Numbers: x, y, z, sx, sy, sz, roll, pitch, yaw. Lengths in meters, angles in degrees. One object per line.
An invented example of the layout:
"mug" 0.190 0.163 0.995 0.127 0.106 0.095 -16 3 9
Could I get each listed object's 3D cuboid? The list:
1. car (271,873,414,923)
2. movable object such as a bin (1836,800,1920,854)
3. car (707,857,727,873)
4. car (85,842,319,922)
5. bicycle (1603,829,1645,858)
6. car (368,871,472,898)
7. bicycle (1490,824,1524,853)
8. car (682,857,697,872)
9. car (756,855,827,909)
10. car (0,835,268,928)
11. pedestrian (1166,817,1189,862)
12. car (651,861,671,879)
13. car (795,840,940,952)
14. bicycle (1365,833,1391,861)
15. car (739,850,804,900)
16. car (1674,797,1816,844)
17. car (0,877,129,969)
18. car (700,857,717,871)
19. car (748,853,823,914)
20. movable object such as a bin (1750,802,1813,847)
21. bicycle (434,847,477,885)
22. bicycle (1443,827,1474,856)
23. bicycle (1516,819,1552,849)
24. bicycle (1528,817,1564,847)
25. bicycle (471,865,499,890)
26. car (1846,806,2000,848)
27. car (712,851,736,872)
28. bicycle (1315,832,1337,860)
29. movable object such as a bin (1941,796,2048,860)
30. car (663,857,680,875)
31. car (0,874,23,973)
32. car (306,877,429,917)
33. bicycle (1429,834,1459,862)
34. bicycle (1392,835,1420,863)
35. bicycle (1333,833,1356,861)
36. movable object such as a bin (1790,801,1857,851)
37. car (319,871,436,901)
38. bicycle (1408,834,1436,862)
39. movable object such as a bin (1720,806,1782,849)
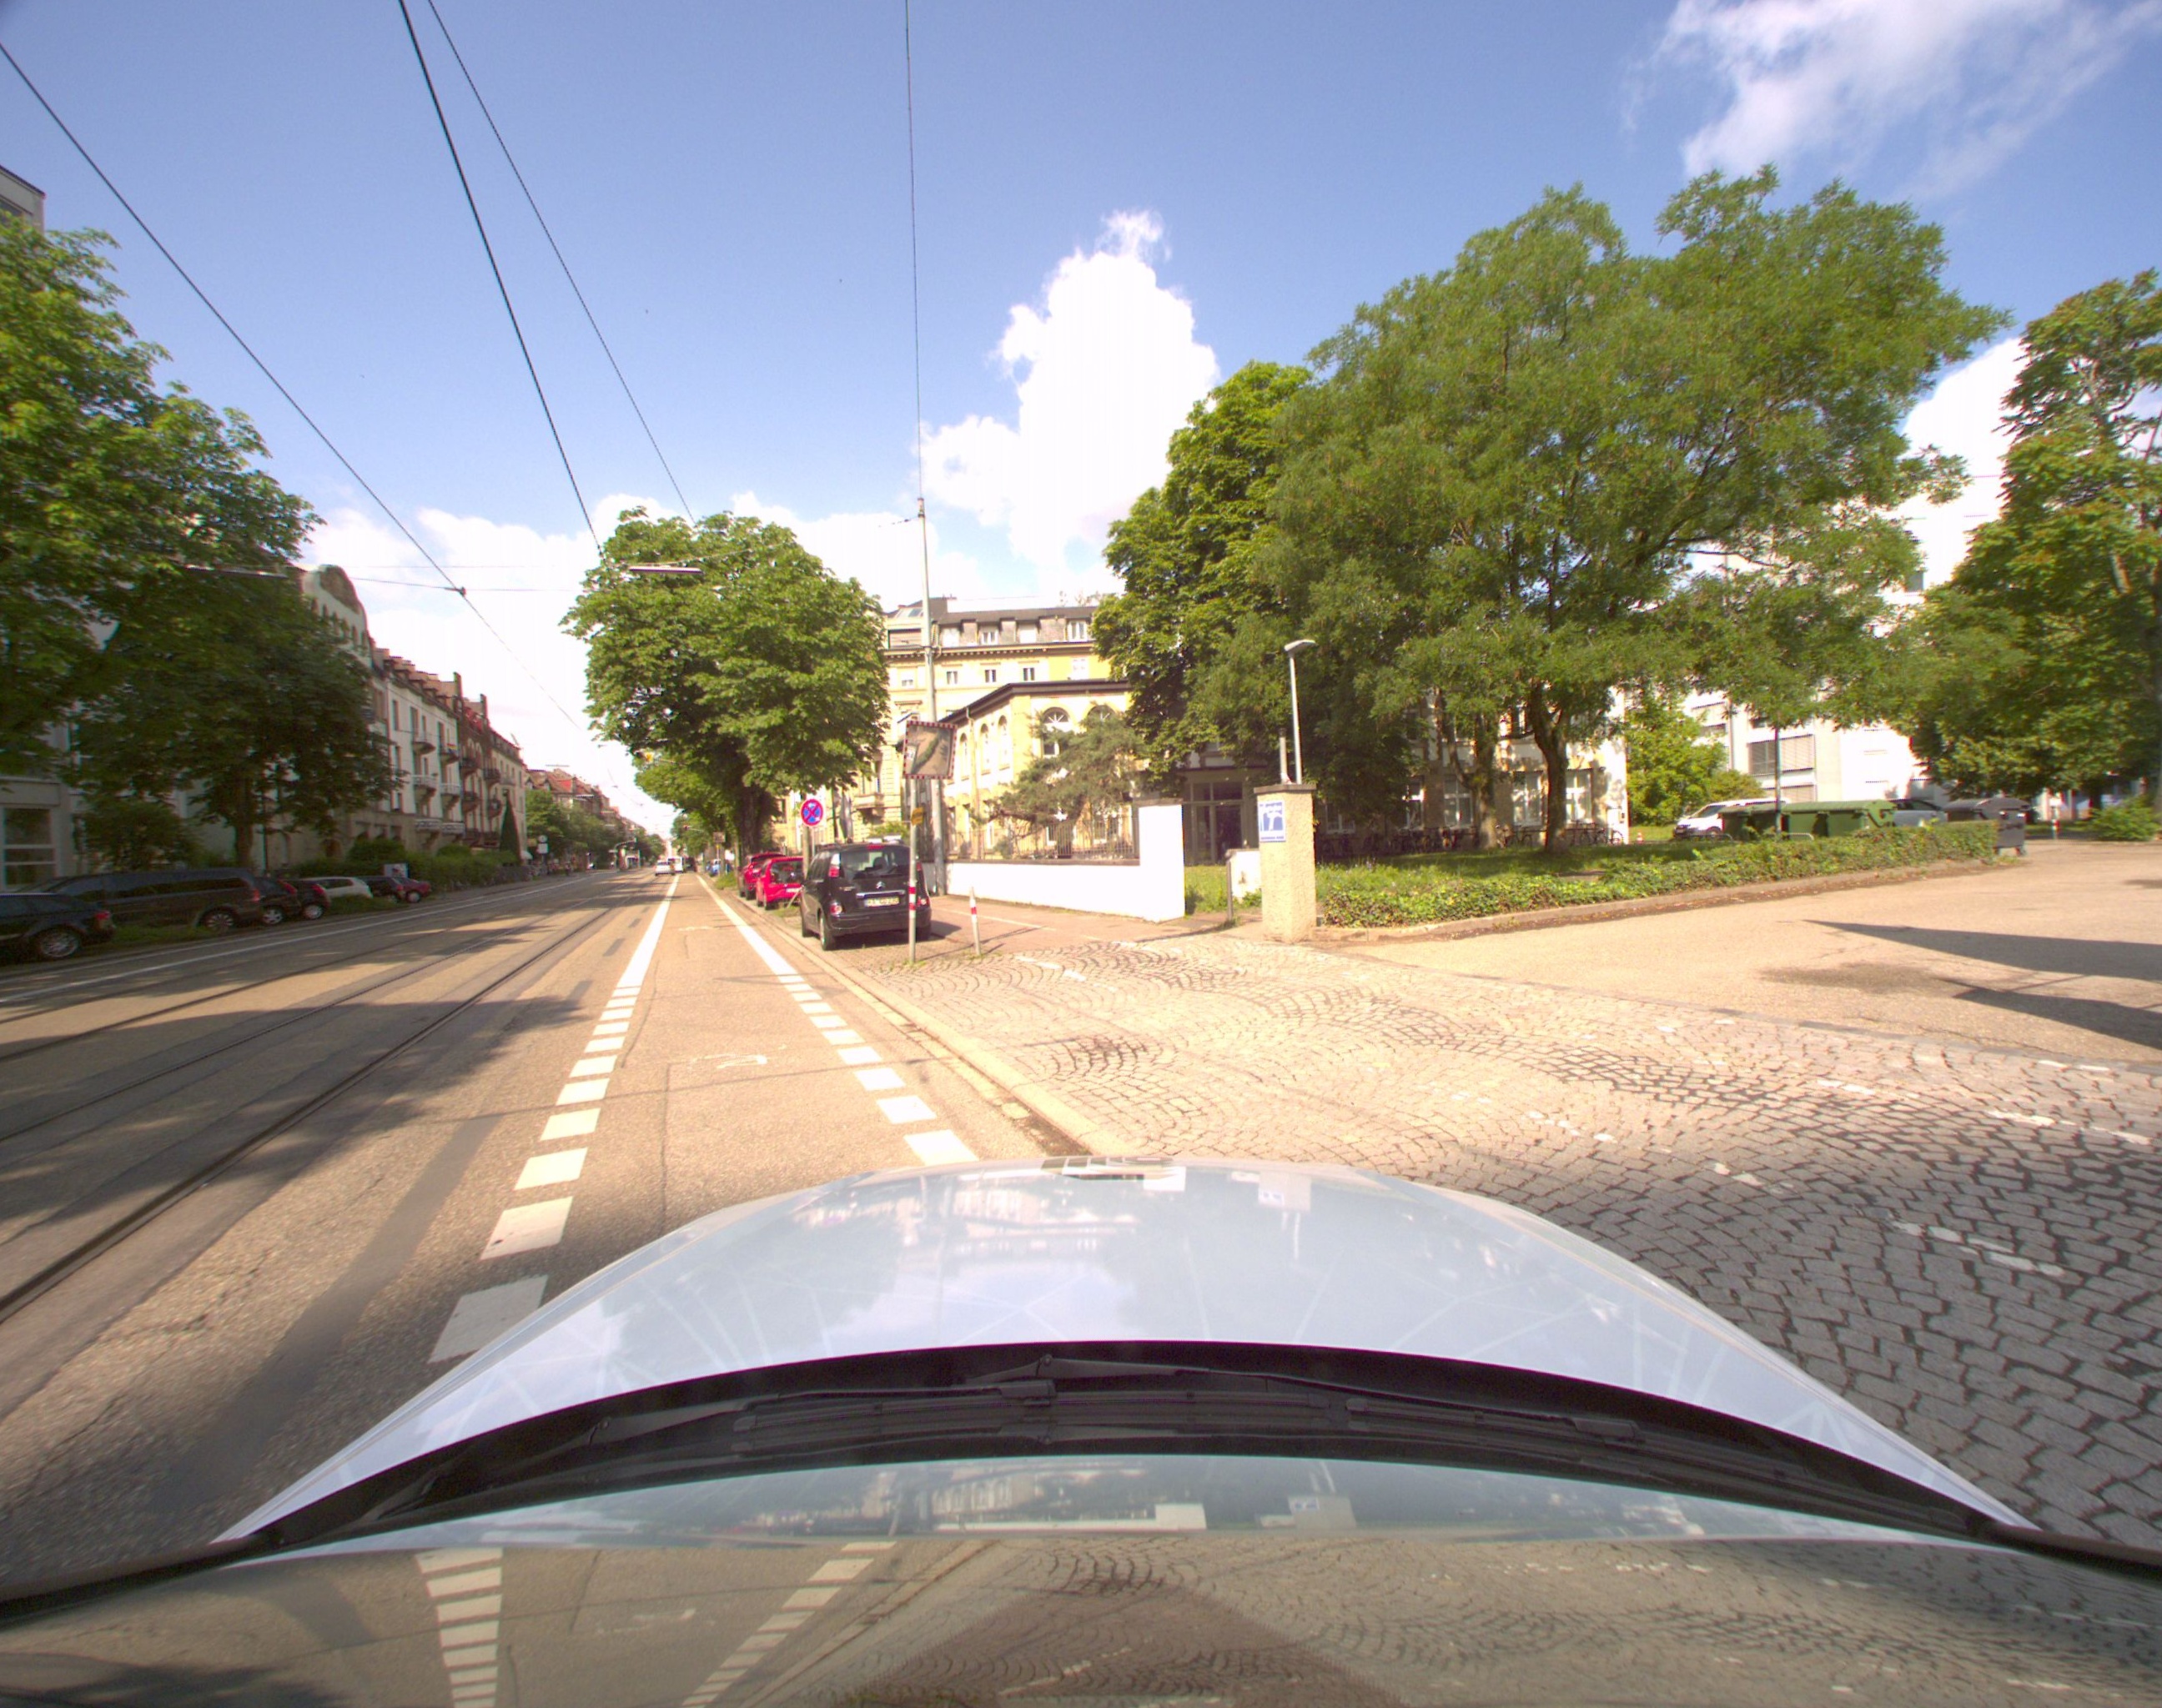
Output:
"car" -27.859 1.608 30.846 1.613 1.577 3.626 0 2 25
"movable object such as a bin" 22.772 -0.757 23.300 1.097 1.452 1.341 2 -1 -5
"car" -36.948 1.076 82.667 1.629 1.517 3.534 2 -1 -26
"car" -26.187 0.916 24.484 1.861 2.082 4.226 3 -3 25
"bicycle" 21.224 -0.406 31.878 0.416 1.056 2.070 -2 -1 5
"car" -34.228 1.575 42.304 1.618 1.306 3.808 1 -1 25
"bicycle" 16.813 -0.591 32.191 0.416 1.056 2.070 -2 -1 5
"car" -49.749 1.309 103.518 1.629 1.849 3.534 2 -1 -26
"car" -8.657 0.775 24.206 1.676 1.486 3.252 0 0 -26
"car" -24.724 0.788 21.366 1.862 2.082 4.222 4 -3 18
"pedestrian" 3.665 -0.548 30.938 0.768 1.678 0.808 2 -1 0
"car" -40.760 1.545 79.064 1.629 1.684 3.534 2 -1 -26
"car" -3.721 0.579 13.802 1.683 1.611 3.554 -1 1 -26
"bicycle" 11.828 -0.275 32.491 0.416 1.056 2.070 -2 -1 5
"car" -11.648 0.754 30.466 1.969 1.706 3.967 2 -1 -25
"car" 31.220 -1.549 38.403 4.918 1.965 2.001 0 -4 3
"car" -21.748 1.329 15.788 1.862 1.712 3.776 1 -1 18
"car" -41.800 1.127 91.302 1.629 1.517 3.534 2 -1 -26
"car" -8.798 0.795 24.096 1.683 1.611 3.554 -1 1 -26
"movable object such as a bin" 22.479 -0.925 26.145 0.942 1.349 1.232 2 -1 -5
"bicycle" -40.243 0.753 52.446 0.941 2.319 3.973 2 -1 -20
"bicycle" 14.995 -0.469 32.392 0.416 1.056 2.070 -2 -1 5
"bicycle" 17.790 -0.761 32.009 0.416 1.056 2.070 2 -1 6
"bicycle" 18.260 -0.841 32.031 0.416 1.056 2.070 2 -1 6
"bicycle" -42.291 1.662 57.851 0.942 1.746 2.268 2 -1 -20
"car" 31.437 -0.995 30.481 3.890 1.420 1.759 -1 -2 0
"car" -29.929 0.648 68.267 1.629 1.684 3.534 2 -1 -26
"bicycle" 9.807 -0.286 32.655 0.416 1.056 2.070 -2 -1 5
"movable object such as a bin" 22.084 -0.636 19.740 1.235 1.481 1.303 2 2 21
"car" -46.987 1.366 93.543 1.630 2.000 3.534 2 -1 -26
"car" -20.356 1.165 12.982 1.862 1.712 3.776 1 -1 18
"car" -31.441 1.936 36.010 1.614 1.578 3.623 3 -3 25
"bicycle" 14.324 -0.225 32.170 0.416 1.056 2.070 -2 -1 5
"bicycle" 12.945 -0.198 32.472 0.416 1.056 2.070 -2 -1 5
"bicycle" 10.524 -0.263 32.579 0.416 1.056 2.070 -2 -1 5
"movable object such as a bin" 22.598 -0.836 24.802 0.876 1.452 1.232 2 -1 -5
"car" -33.335 1.501 38.712 1.618 1.306 3.808 1 -1 25
"bicycle" 13.493 -0.219 32.275 0.416 1.056 2.070 -2 -1 5
"movable object such as a bin" 22.759 -0.877 27.687 0.942 1.349 1.379 2 -1 -5
